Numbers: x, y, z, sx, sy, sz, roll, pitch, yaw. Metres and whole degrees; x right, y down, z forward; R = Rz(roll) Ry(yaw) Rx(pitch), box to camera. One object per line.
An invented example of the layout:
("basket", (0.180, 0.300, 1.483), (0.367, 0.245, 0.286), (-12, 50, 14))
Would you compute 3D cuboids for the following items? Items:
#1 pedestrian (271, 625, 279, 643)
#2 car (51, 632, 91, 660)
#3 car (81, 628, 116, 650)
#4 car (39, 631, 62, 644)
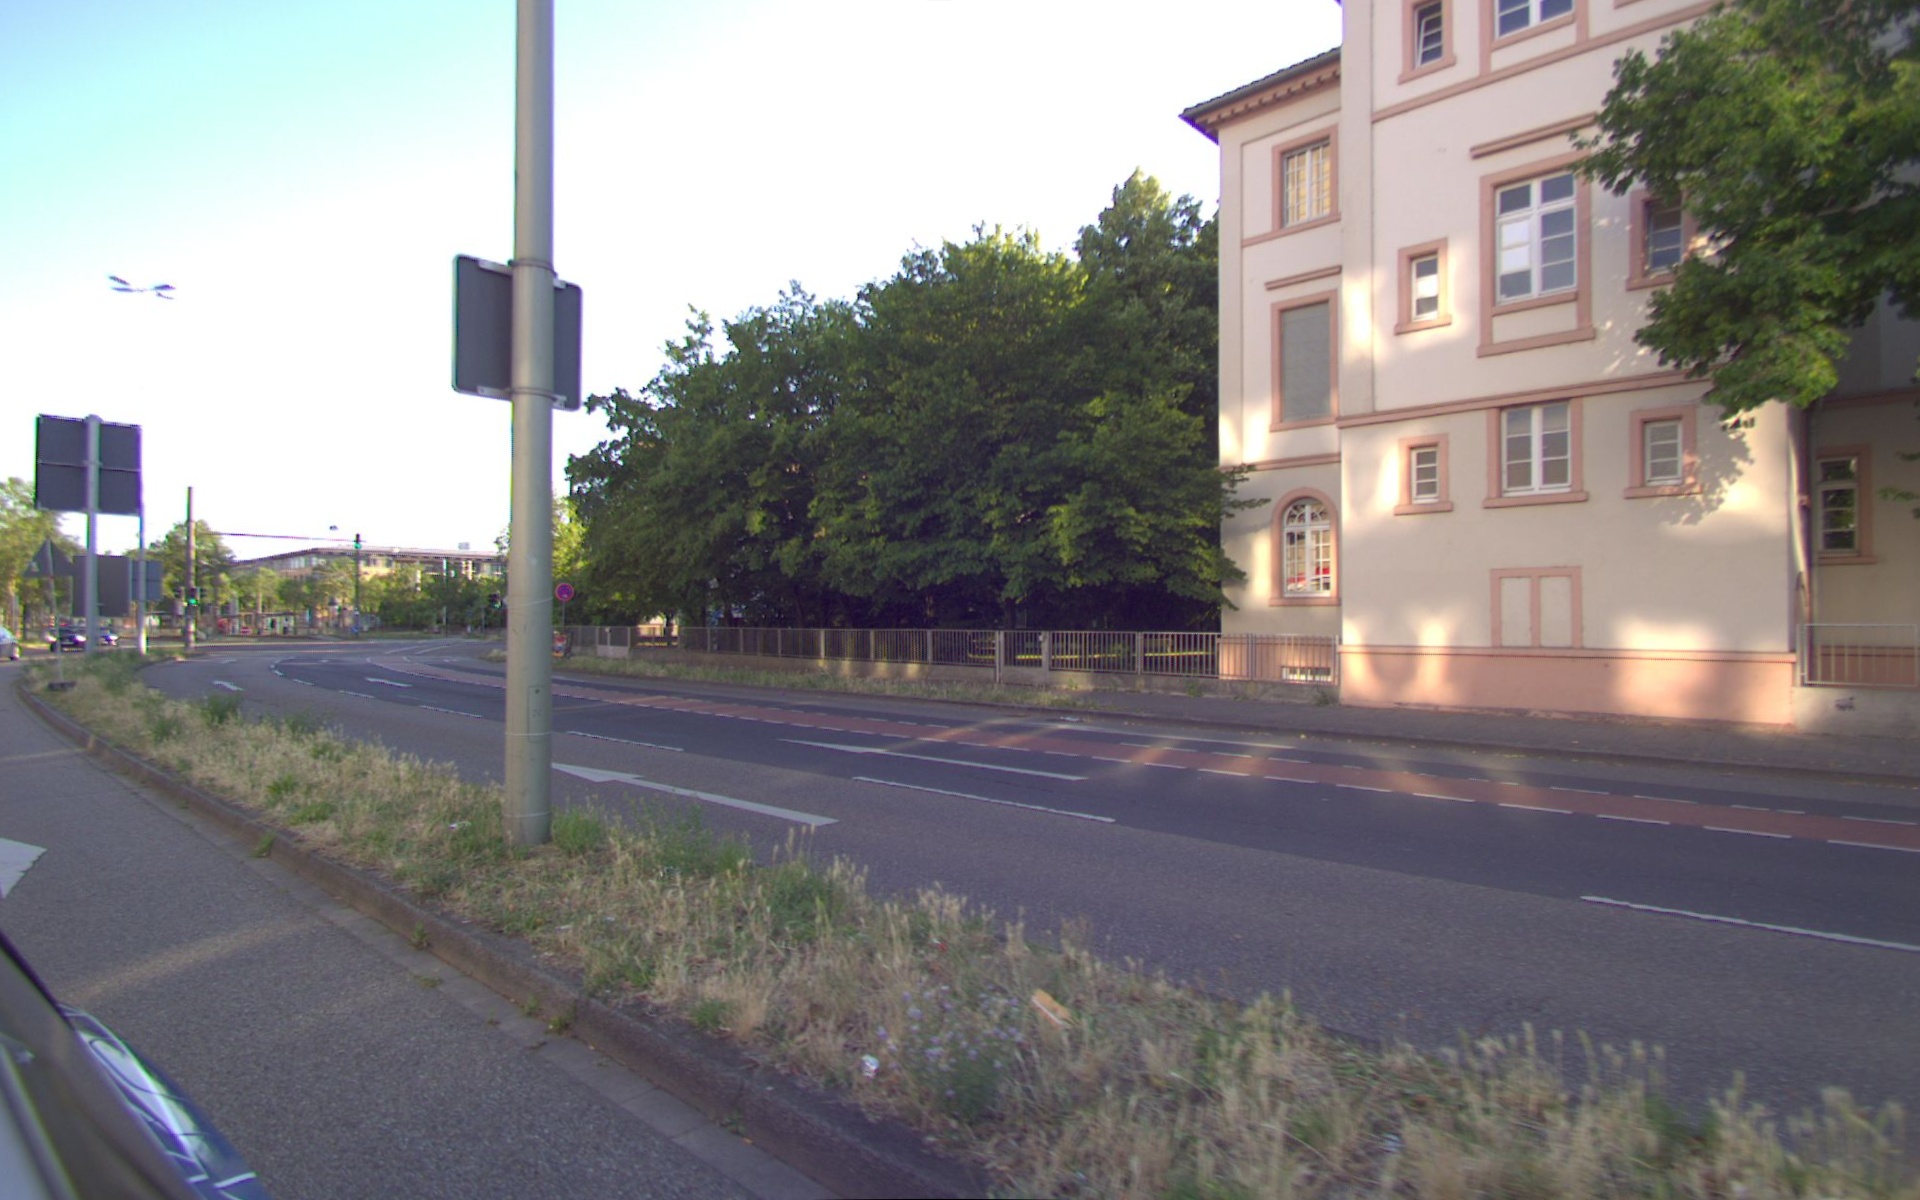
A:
("pedestrian", (-75.376, 3.745, 111.371), (0.664, 2.029, 0.549), (-2, -2, 42))
("car", (-50.104, 2.578, 57.059), (1.561, 1.460, 3.879), (0, -1, -40))
("car", (-59.704, 2.665, 70.178), (1.705, 1.460, 4.053), (0, -1, -39))
("car", (-98.986, 4.058, 110.198), (1.649, 1.429, 4.448), (1, -2, -39))
